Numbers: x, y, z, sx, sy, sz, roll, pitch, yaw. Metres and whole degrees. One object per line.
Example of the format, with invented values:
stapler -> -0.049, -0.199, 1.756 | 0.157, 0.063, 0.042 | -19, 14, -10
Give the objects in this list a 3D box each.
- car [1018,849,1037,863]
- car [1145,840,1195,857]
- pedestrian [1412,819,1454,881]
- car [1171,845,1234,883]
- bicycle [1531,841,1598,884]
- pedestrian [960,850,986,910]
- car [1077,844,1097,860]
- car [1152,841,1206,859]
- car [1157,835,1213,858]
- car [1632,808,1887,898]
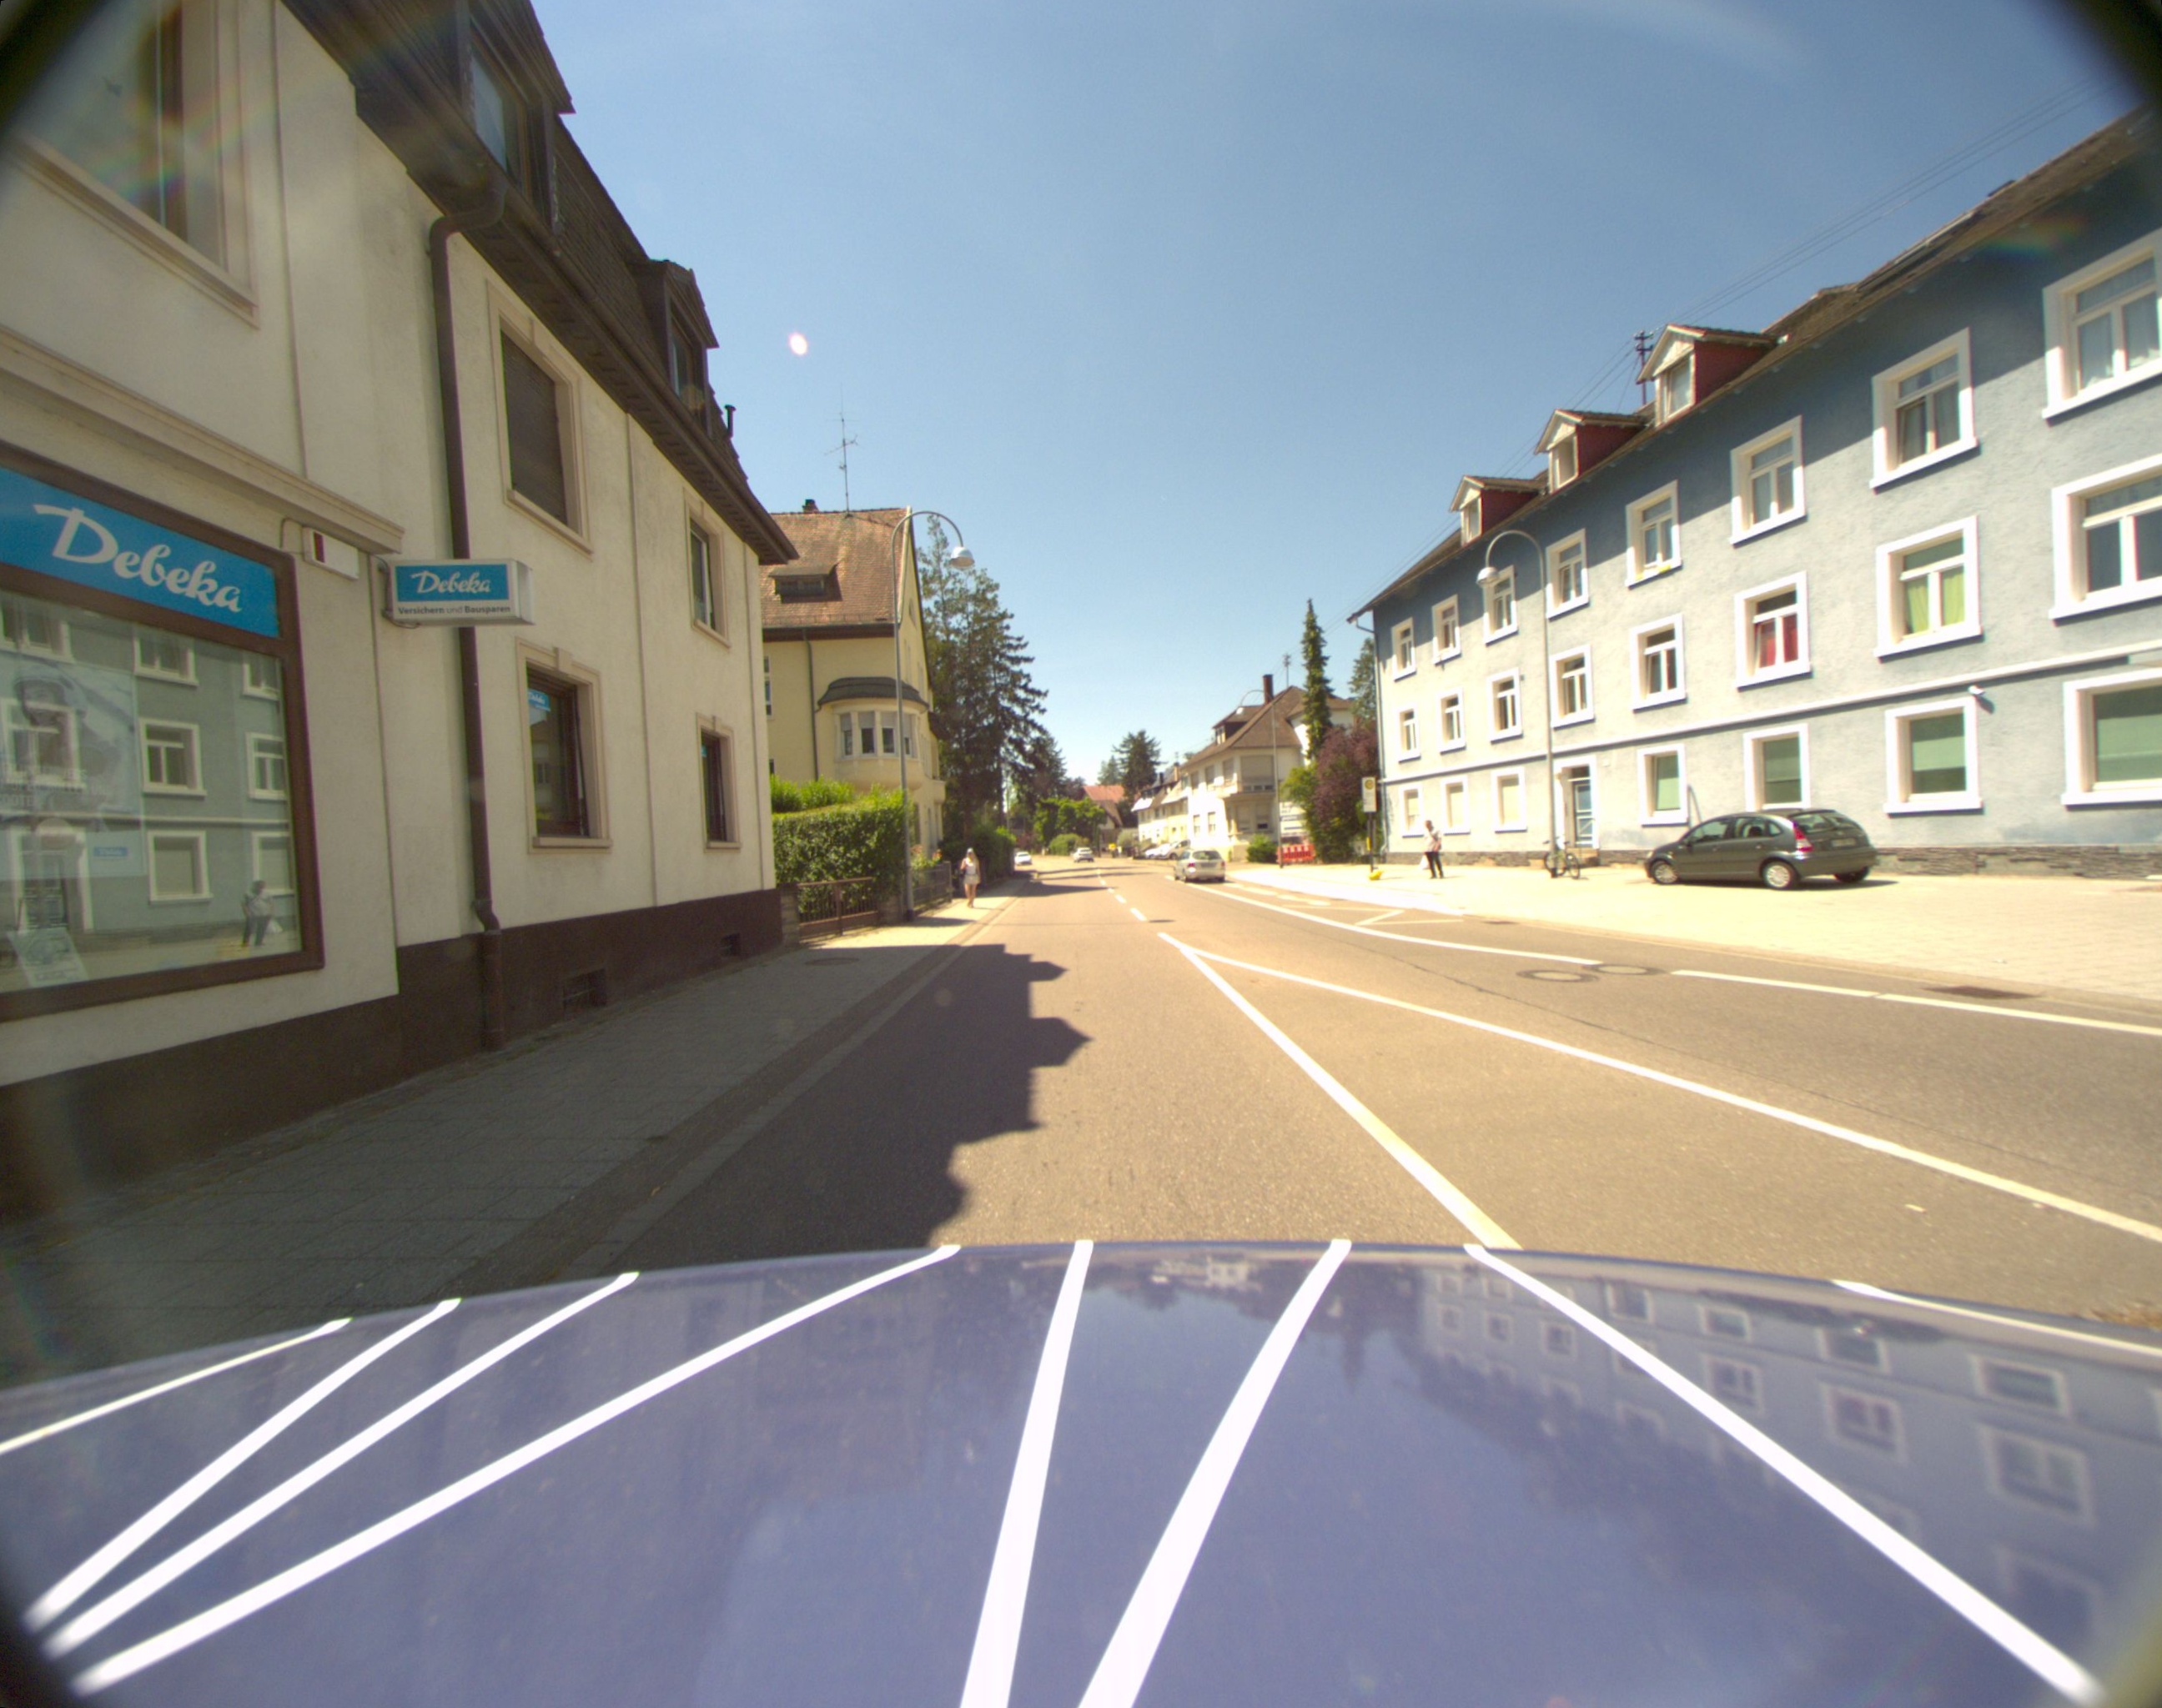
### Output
car -> -6.118, 0.239, 86.750 | 1.690, 1.446, 3.736 | -5, 1, -9
car -> 8.347, -0.482, 71.401 | 4.264, 1.487, 1.879 | -1, 1, 25
pedestrian -> 10.909, -0.128, 23.573 | 0.758, 1.838, 0.771 | -6, 3, -9
car -> 5.321, 0.497, 33.889 | 1.843, 1.520, 4.393 | 2, -2, -3
bicycle -> 12.527, 0.207, 19.751 | 0.497, 0.972, 1.973 | -7, 2, 4
pedestrian -> -3.003, 0.711, 21.167 | 0.625, 1.634, 0.771 | 2, 1, -5
car -> 0.609, -0.232, 80.437 | 1.825, 1.522, 3.947 | -3, 2, -2
car -> 8.772, -0.368, 68.350 | 4.484, 1.487, 1.975 | -1, 0, -6
car -> 9.021, -0.679, 65.910 | 4.367, 1.866, 1.848 | -1, 1, -14
car -> 13.544, -0.079, 15.498 | 1.582, 1.526, 3.771 | -3, 2, -7
